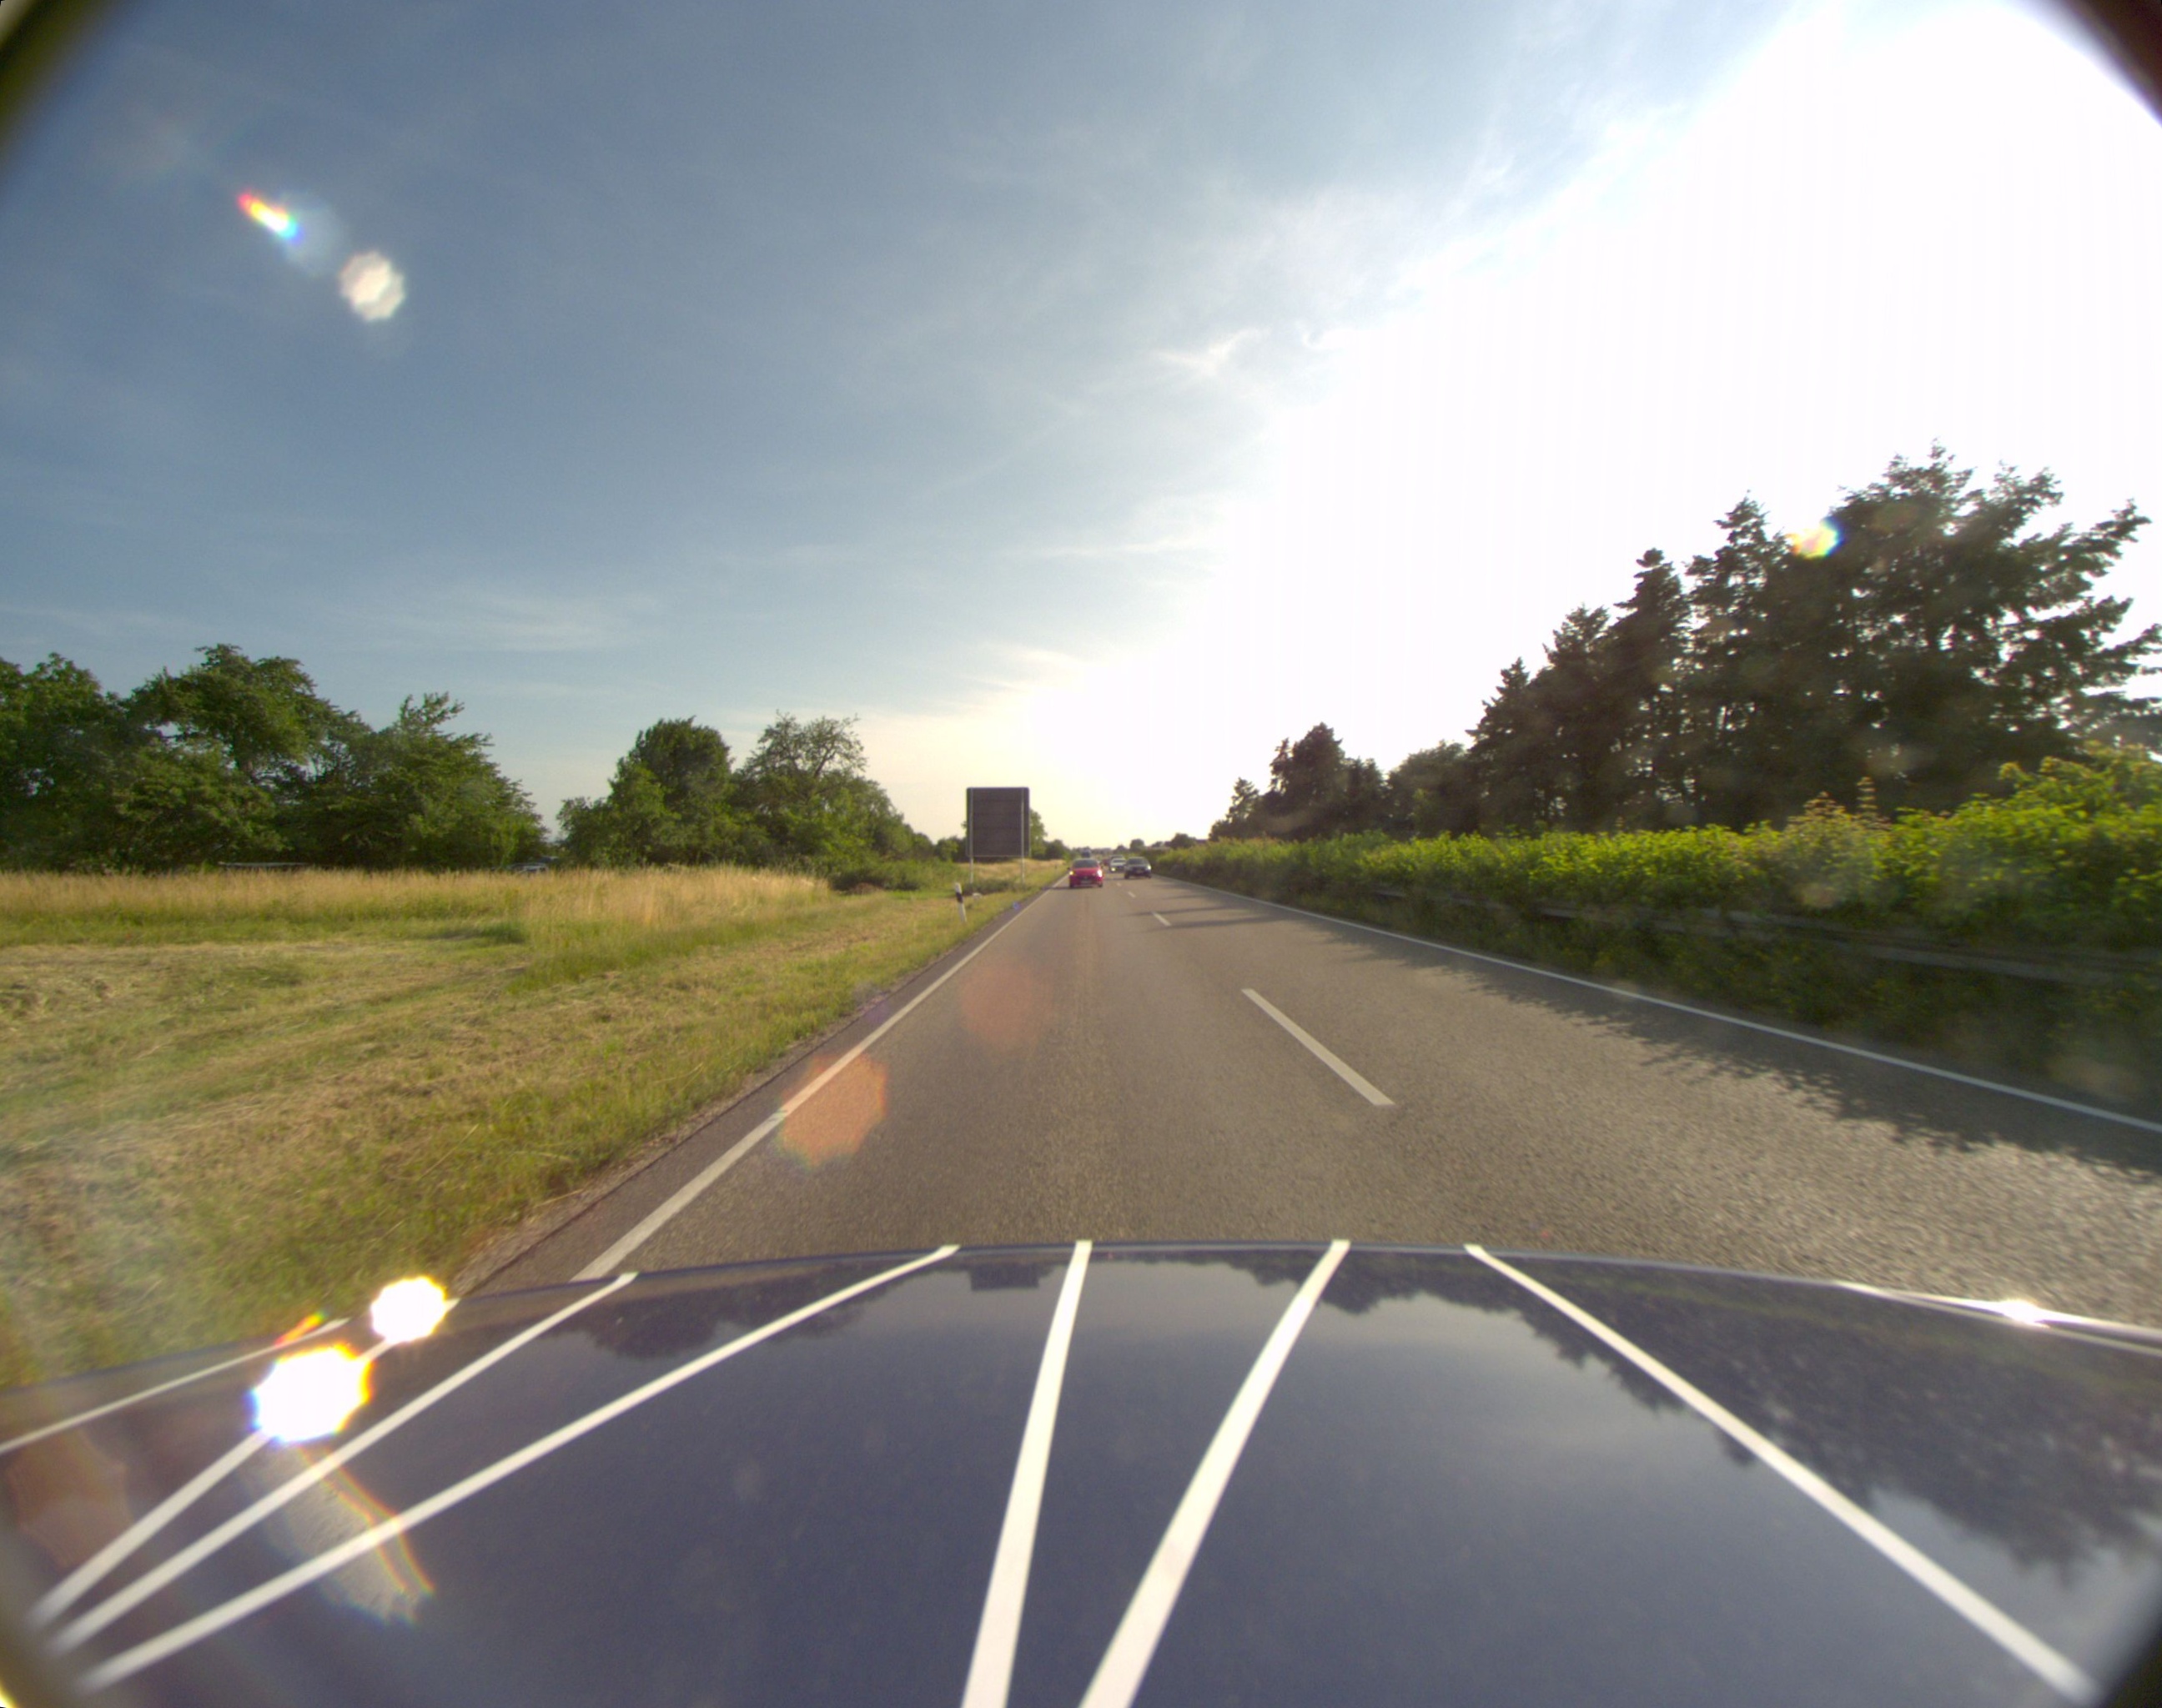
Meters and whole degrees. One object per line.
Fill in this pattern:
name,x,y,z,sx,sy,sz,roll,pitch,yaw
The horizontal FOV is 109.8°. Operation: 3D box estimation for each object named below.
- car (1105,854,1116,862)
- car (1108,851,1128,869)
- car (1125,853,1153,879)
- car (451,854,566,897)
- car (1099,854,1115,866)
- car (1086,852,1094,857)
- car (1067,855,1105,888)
car,5.371,0.753,140.088,1.998,1.412,4.000,-2,0,2
car,3.790,0.586,78.816,1.998,1.762,4.000,-2,0,2
car,3.972,0.784,52.603,1.693,1.695,4.000,-2,0,1
car,-25.247,0.909,33.716,1.998,1.739,4.000,-2,0,0
car,3.314,0.765,96.719,1.998,1.412,4.000,-2,0,2
car,2.511,0.058,214.641,1.998,1.412,4.000,-2,0,2
car,0.319,0.855,39.673,1.821,1.565,4.000,-2,0,2
